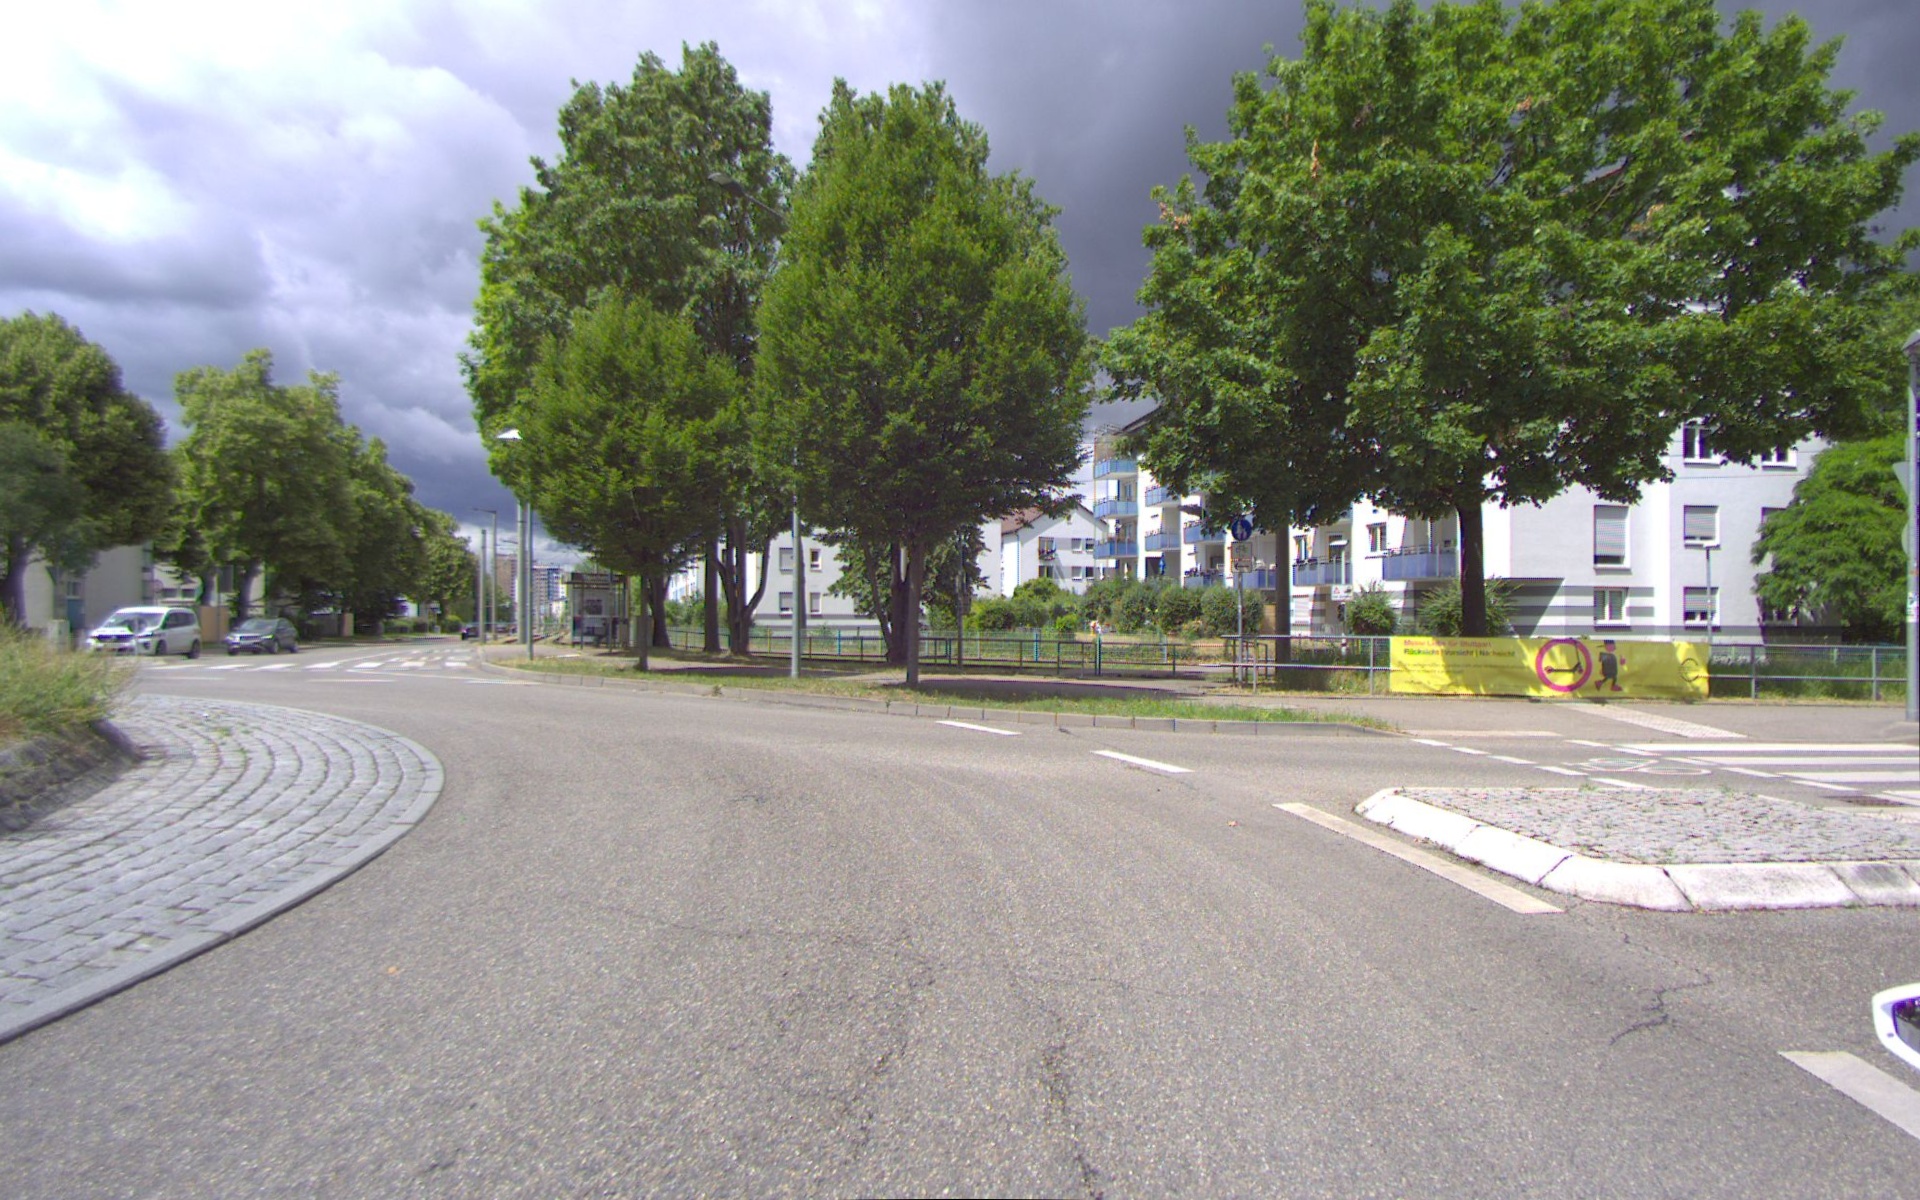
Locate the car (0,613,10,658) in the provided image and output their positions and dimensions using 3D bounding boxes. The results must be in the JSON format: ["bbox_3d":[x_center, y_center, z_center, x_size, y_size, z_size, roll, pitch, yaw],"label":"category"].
[{"bbox_3d":[-34.882,1.144,33.842,3.695,1.577,2.017,3,-3,-29],"label":"car"}]

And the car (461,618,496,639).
[{"bbox_3d":[-41.293,2.396,86.281,1.967,1.723,3.988,-1,-1,-15],"label":"car"}]

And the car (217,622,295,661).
[{"bbox_3d":[-31.001,1.812,44.330,1.971,1.628,3.979,1,-2,-23],"label":"car"}]

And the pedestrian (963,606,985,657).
[{"bbox_3d":[0.573,1.288,41.075,0.715,2.040,0.981,0,-1,9],"label":"pedestrian"}]

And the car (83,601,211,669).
[{"bbox_3d":[-26.984,1.115,33.529,1.970,2.077,4.423,-1,-1,-20],"label":"car"}]
